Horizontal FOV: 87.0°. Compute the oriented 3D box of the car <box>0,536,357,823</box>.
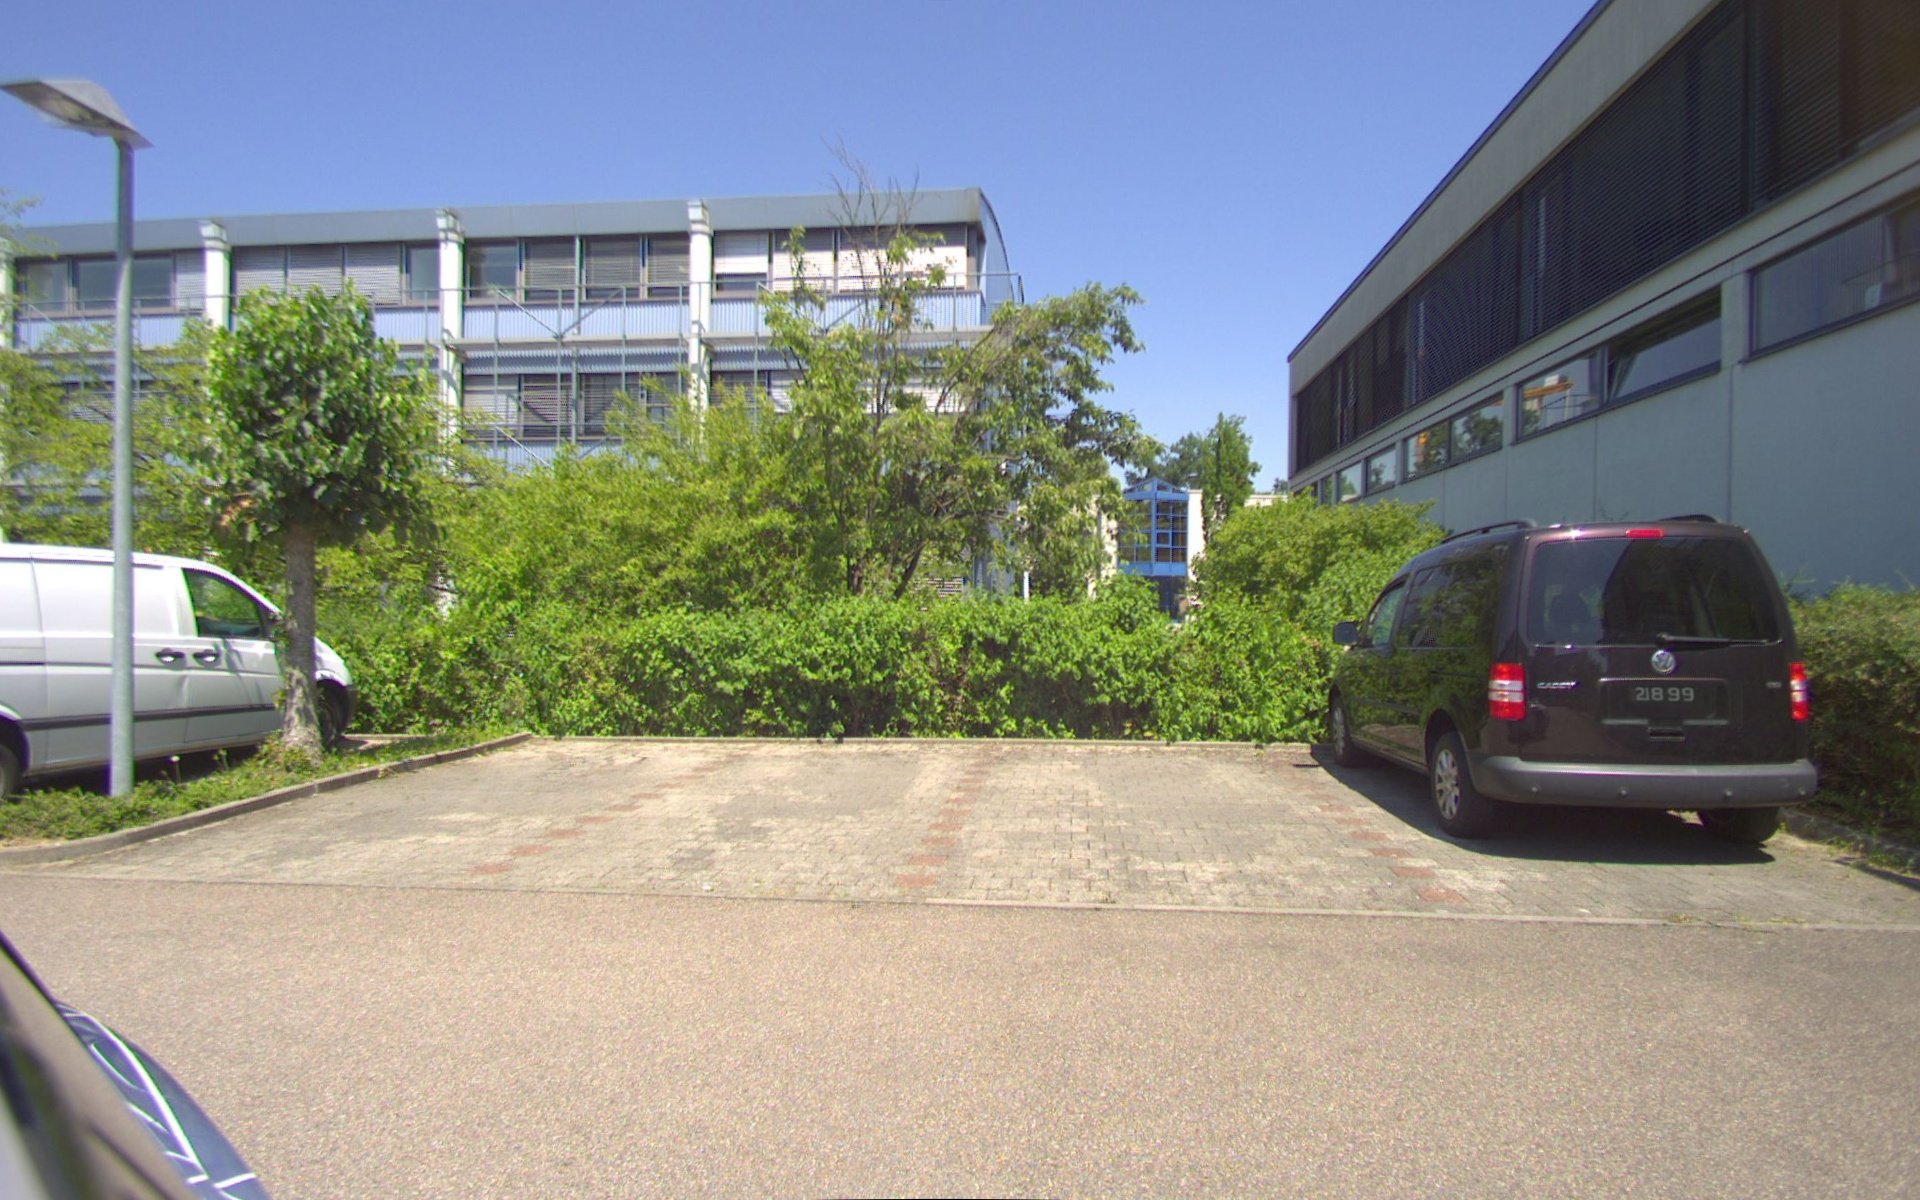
[{"bbox_3d":[-7.106,0.539,7.776,1.845,1.874,4.668,-1,0,6],"label":"car"}]

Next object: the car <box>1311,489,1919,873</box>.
[{"bbox_3d":[3.968,0.419,7.142,1.845,1.874,4.221,-1,0,6],"label":"car"}]

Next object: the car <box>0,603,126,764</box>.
[{"bbox_3d":[-9.827,0.780,8.648,1.718,1.495,4.190,-1,0,6],"label":"car"}]
